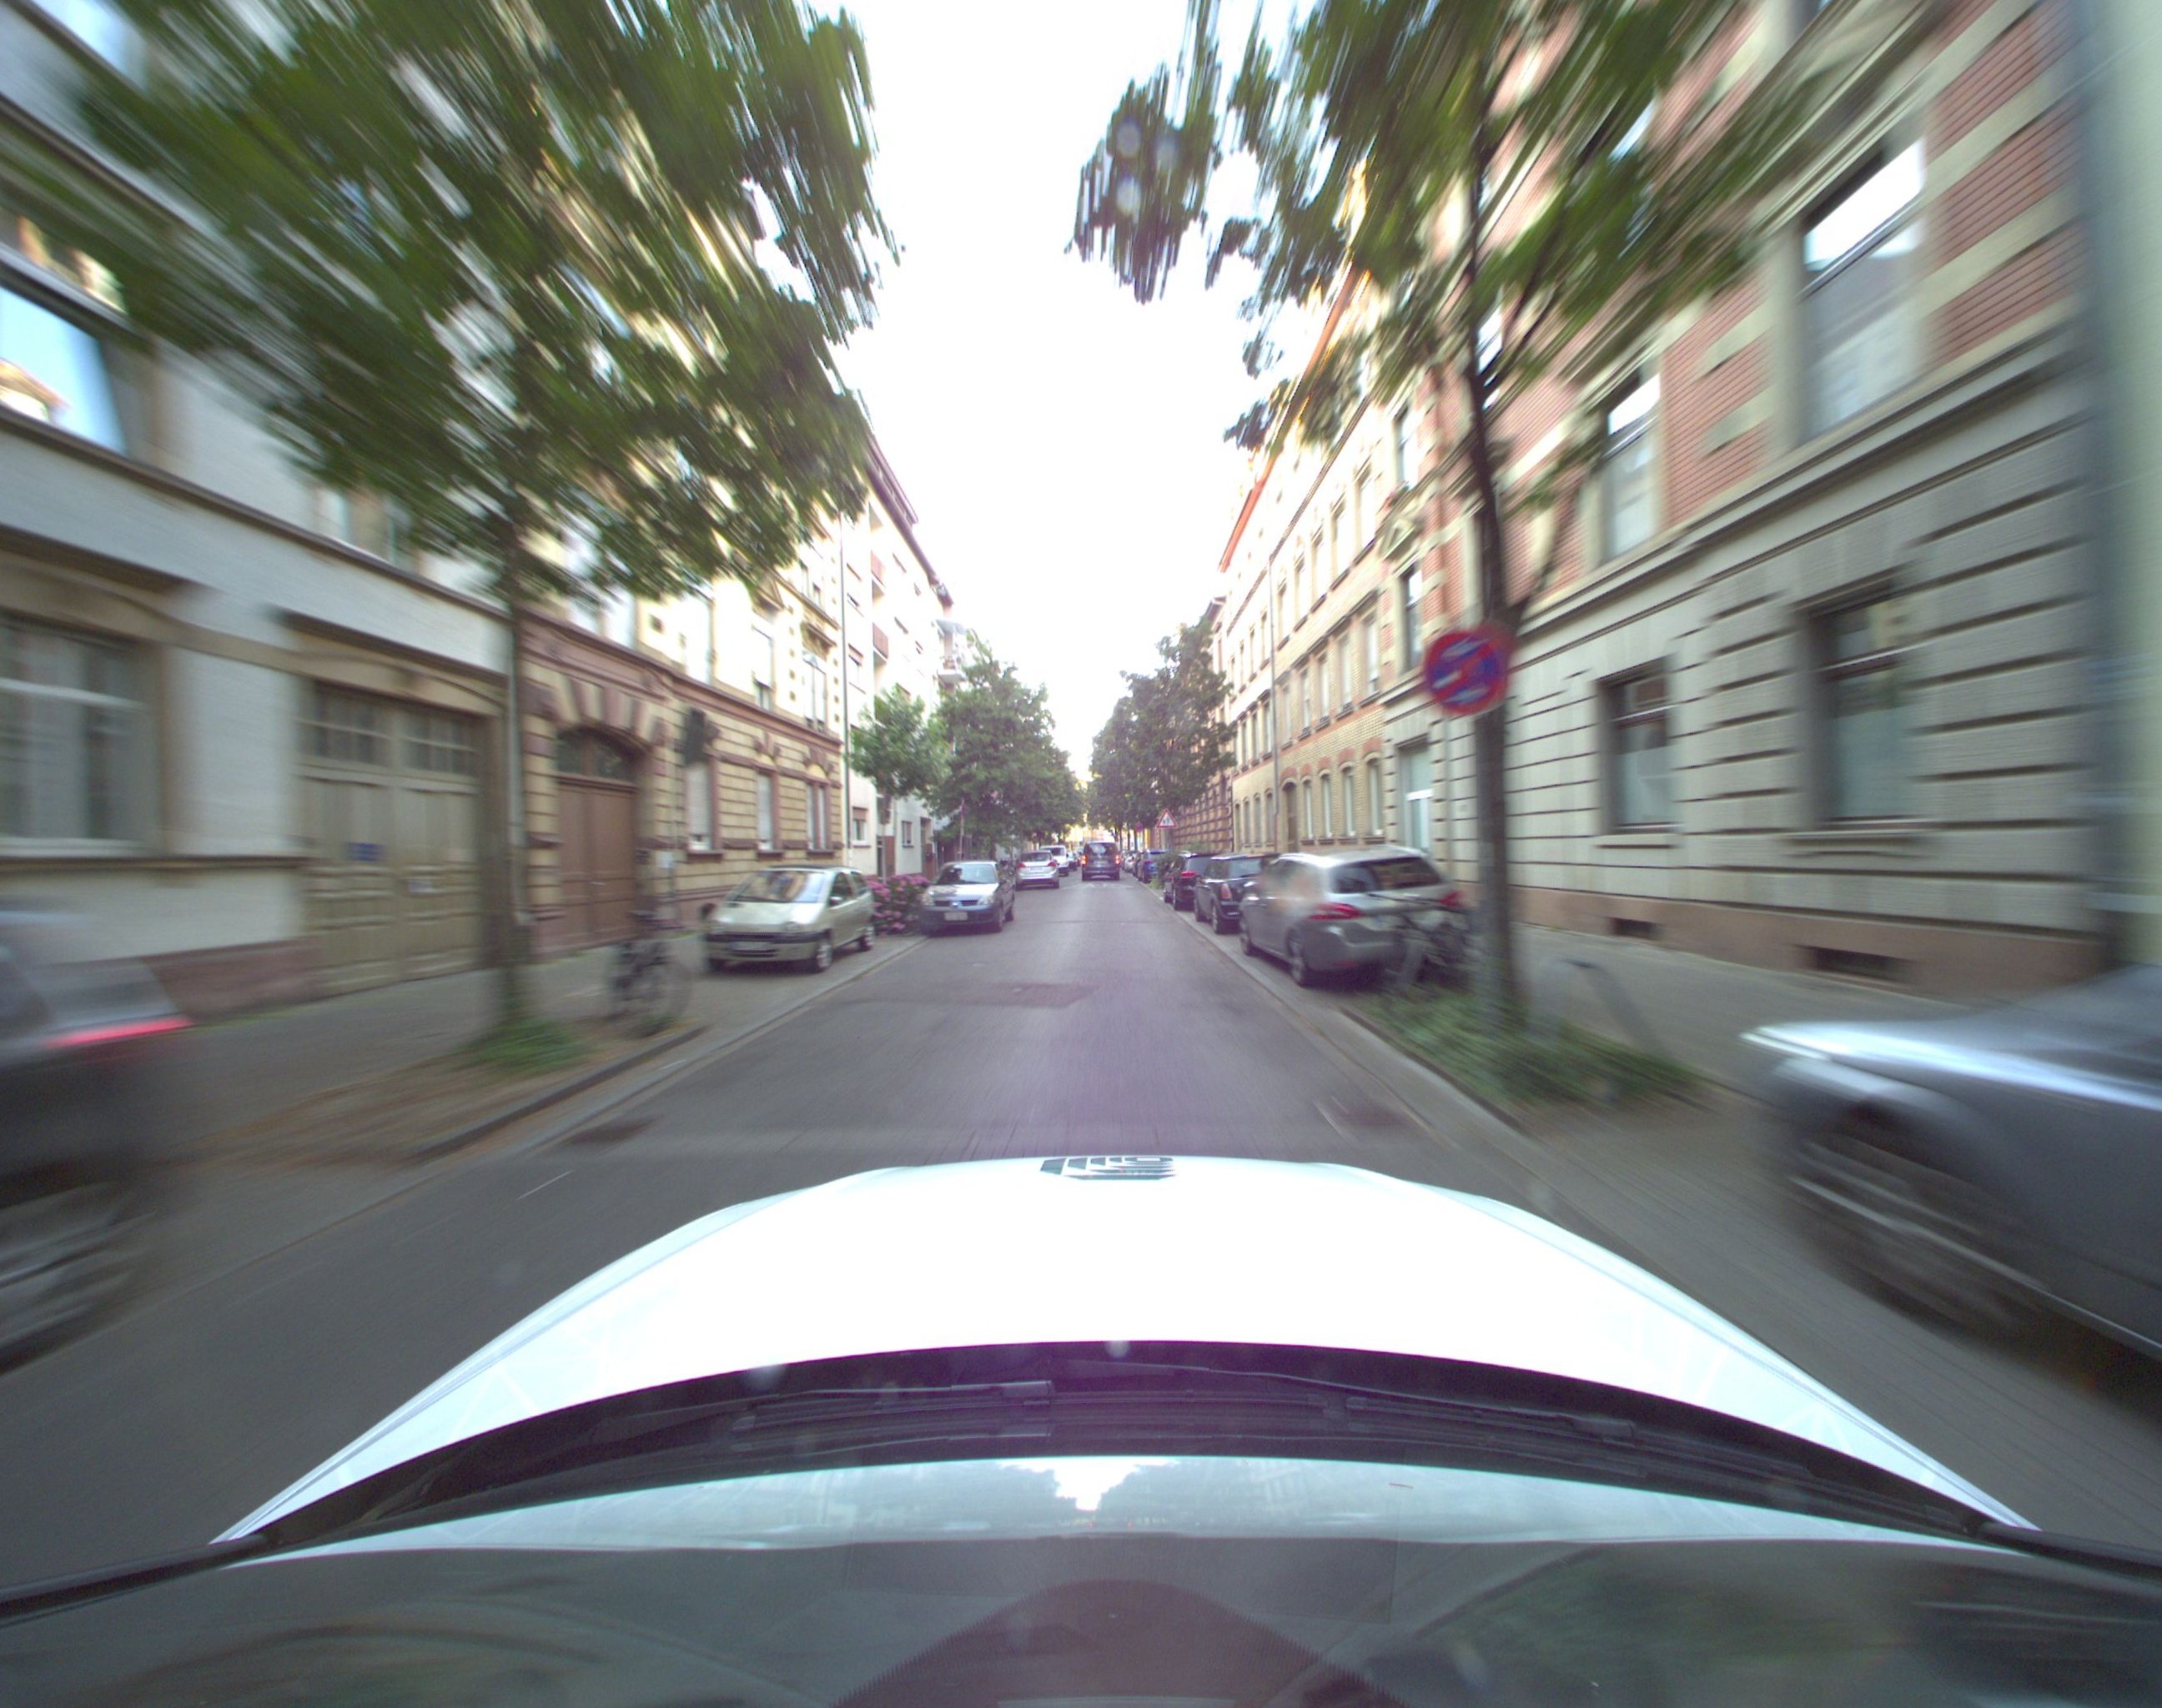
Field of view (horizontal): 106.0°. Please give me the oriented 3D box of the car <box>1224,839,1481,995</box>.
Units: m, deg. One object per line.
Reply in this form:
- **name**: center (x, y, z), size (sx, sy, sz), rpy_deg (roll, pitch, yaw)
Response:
- **car**: center (3.124, 0.628, 10.379), size (1.712, 1.476, 4.366), rpy_deg (-3, 0, -1)

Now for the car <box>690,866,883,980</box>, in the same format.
- **car**: center (-4.265, 0.926, 12.384), size (1.582, 1.437, 3.566), rpy_deg (0, 0, 1)

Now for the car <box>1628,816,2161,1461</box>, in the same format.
- **car**: center (3.310, 0.620, 1.463), size (1.753, 1.463, 4.308), rpy_deg (-2, 0, 0)

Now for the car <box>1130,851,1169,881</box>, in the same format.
- **car**: center (3.602, 0.612, 43.579), size (1.706, 1.478, 4.192), rpy_deg (-1, 0, 0)

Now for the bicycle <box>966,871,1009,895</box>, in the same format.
- **bicycle**: center (-3.779, 1.160, 32.960), size (1.709, 0.907, 0.380), rpy_deg (-1, -1, -29)

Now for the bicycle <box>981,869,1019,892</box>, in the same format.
- **bicycle**: center (-3.643, 1.199, 36.487), size (1.708, 0.994, 0.580), rpy_deg (-2, 0, 34)

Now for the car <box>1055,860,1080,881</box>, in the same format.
- **car**: center (-1.017, 1.269, 64.177), size (1.824, 1.517, 4.516), rpy_deg (-2, -1, 0)

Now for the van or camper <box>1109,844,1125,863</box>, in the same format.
- **van or camper**: center (4.973, -0.049, 112.612), size (1.987, 2.599, 5.423), rpy_deg (-1, 0, 0)

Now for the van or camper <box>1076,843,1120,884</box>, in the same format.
- **van or camper**: center (0.919, 0.463, 41.032), size (2.027, 1.897, 4.274), rpy_deg (-1, 0, 3)

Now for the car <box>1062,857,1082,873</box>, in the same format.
- **car**: center (-0.883, 1.086, 82.152), size (1.840, 1.451, 4.503), rpy_deg (-1, 0, 1)

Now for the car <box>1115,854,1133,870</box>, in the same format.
- **car**: center (4.434, 0.835, 84.596), size (1.607, 1.559, 3.765), rpy_deg (-2, 0, -1)

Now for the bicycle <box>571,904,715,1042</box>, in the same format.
- **bicycle**: center (-4.179, 1.052, 7.705), size (1.805, 1.085, 0.672), rpy_deg (-2, -2, 44)

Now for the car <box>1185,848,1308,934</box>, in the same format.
- **car**: center (3.108, 0.648, 15.990), size (1.630, 1.424, 3.564), rpy_deg (-3, 0, 0)

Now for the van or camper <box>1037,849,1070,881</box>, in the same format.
- **van or camper**: center (-1.624, 0.640, 49.746), size (1.871, 1.843, 4.751), rpy_deg (-2, 0, -1)

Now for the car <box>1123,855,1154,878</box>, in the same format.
- **car**: center (3.752, 0.775, 53.347), size (1.688, 1.401, 4.646), rpy_deg (-2, 0, 0)

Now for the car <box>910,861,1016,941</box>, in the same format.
- **car**: center (-2.347, 0.888, 17.033), size (1.575, 1.420, 3.753), rpy_deg (-2, 0, 1)

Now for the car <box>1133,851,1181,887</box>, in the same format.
- **car**: center (3.352, 0.645, 36.569), size (1.623, 1.466, 4.243), rpy_deg (-2, 0, -1)

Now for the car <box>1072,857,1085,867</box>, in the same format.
- **car**: center (-0.342, 1.158, 116.532), size (1.735, 1.404, 3.375), rpy_deg (-2, 0, 1)

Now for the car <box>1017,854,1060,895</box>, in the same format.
- **car**: center (-1.765, 0.822, 34.481), size (1.659, 1.563, 3.997), rpy_deg (-2, 0, -2)

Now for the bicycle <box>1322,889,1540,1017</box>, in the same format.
- **bicycle**: center (3.218, 0.858, 7.478), size (1.922, 0.982, 0.634), rpy_deg (-2, 0, -21)

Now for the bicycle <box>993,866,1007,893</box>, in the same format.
- **bicycle**: center (-3.457, 1.079, 34.902), size (0.418, 1.103, 1.665), rpy_deg (-1, 0, 0)

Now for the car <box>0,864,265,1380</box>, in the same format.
- **car**: center (-4.238, 0.848, 1.289), size (1.700, 1.580, 4.080), rpy_deg (0, 0, 2)

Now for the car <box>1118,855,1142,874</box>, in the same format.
- **car**: center (4.192, 0.909, 70.587), size (1.692, 1.482, 3.998), rpy_deg (-4, 0, -1)

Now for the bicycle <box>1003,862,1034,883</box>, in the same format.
- **bicycle**: center (-3.717, 1.120, 48.750), size (0.690, 1.163, 1.834), rpy_deg (-2, 0, 43)

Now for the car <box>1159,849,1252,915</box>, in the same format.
- **car**: center (3.096, 0.654, 21.122), size (1.760, 1.415, 4.475), rpy_deg (-4, 0, 1)

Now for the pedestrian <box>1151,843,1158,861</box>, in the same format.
- **pedestrian**: center (7.081, -0.181, 78.270), size (0.625, 1.648, 0.532), rpy_deg (-1, 0, 1)
